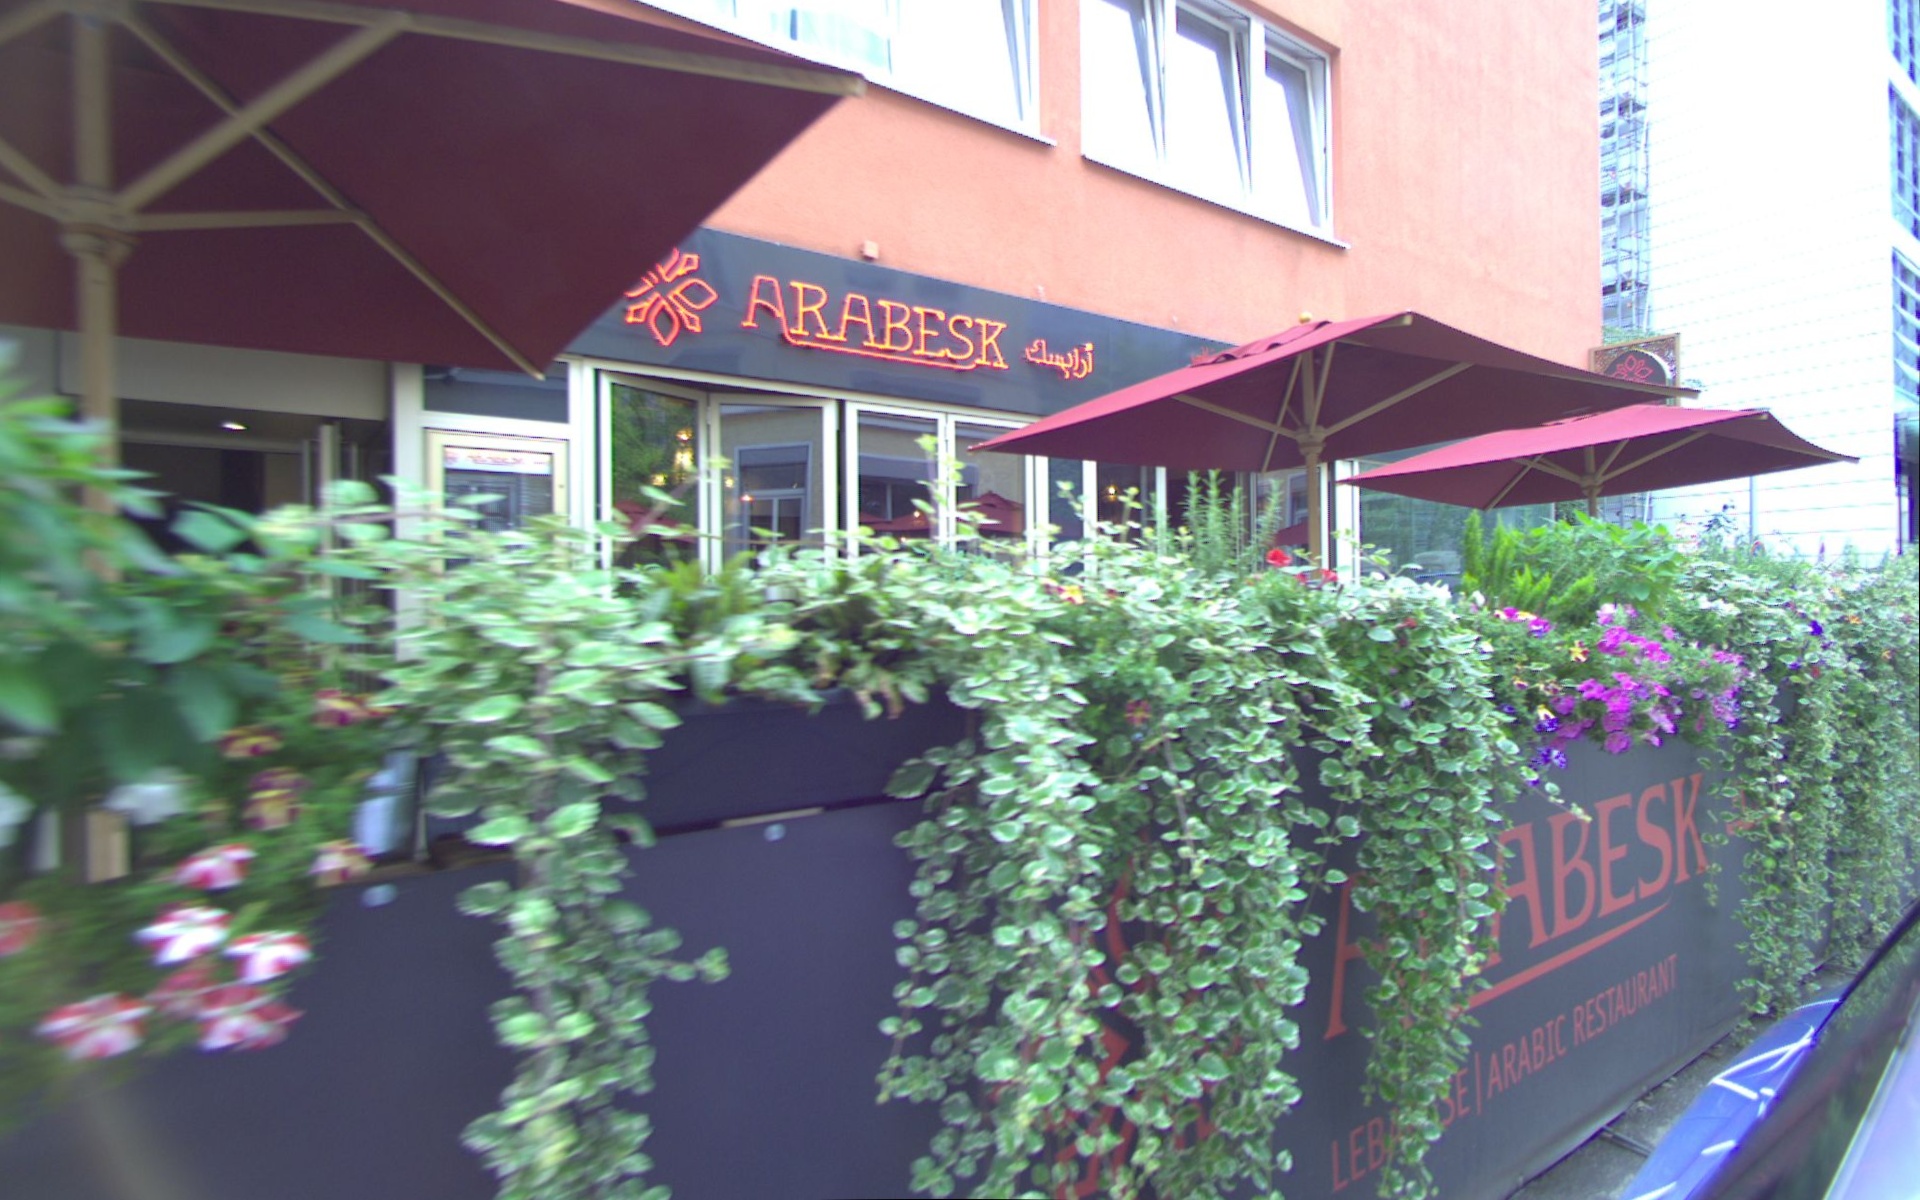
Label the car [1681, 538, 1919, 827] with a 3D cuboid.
[{"bbox_3d":[7.353,0.483,7.547,4.305,1.732,1.830,-1,-1,-35],"label":"car"}]

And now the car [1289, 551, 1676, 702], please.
[{"bbox_3d":[7.018,0.286,14.075,1.806,1.742,4.475,0,0,-36],"label":"car"}]
